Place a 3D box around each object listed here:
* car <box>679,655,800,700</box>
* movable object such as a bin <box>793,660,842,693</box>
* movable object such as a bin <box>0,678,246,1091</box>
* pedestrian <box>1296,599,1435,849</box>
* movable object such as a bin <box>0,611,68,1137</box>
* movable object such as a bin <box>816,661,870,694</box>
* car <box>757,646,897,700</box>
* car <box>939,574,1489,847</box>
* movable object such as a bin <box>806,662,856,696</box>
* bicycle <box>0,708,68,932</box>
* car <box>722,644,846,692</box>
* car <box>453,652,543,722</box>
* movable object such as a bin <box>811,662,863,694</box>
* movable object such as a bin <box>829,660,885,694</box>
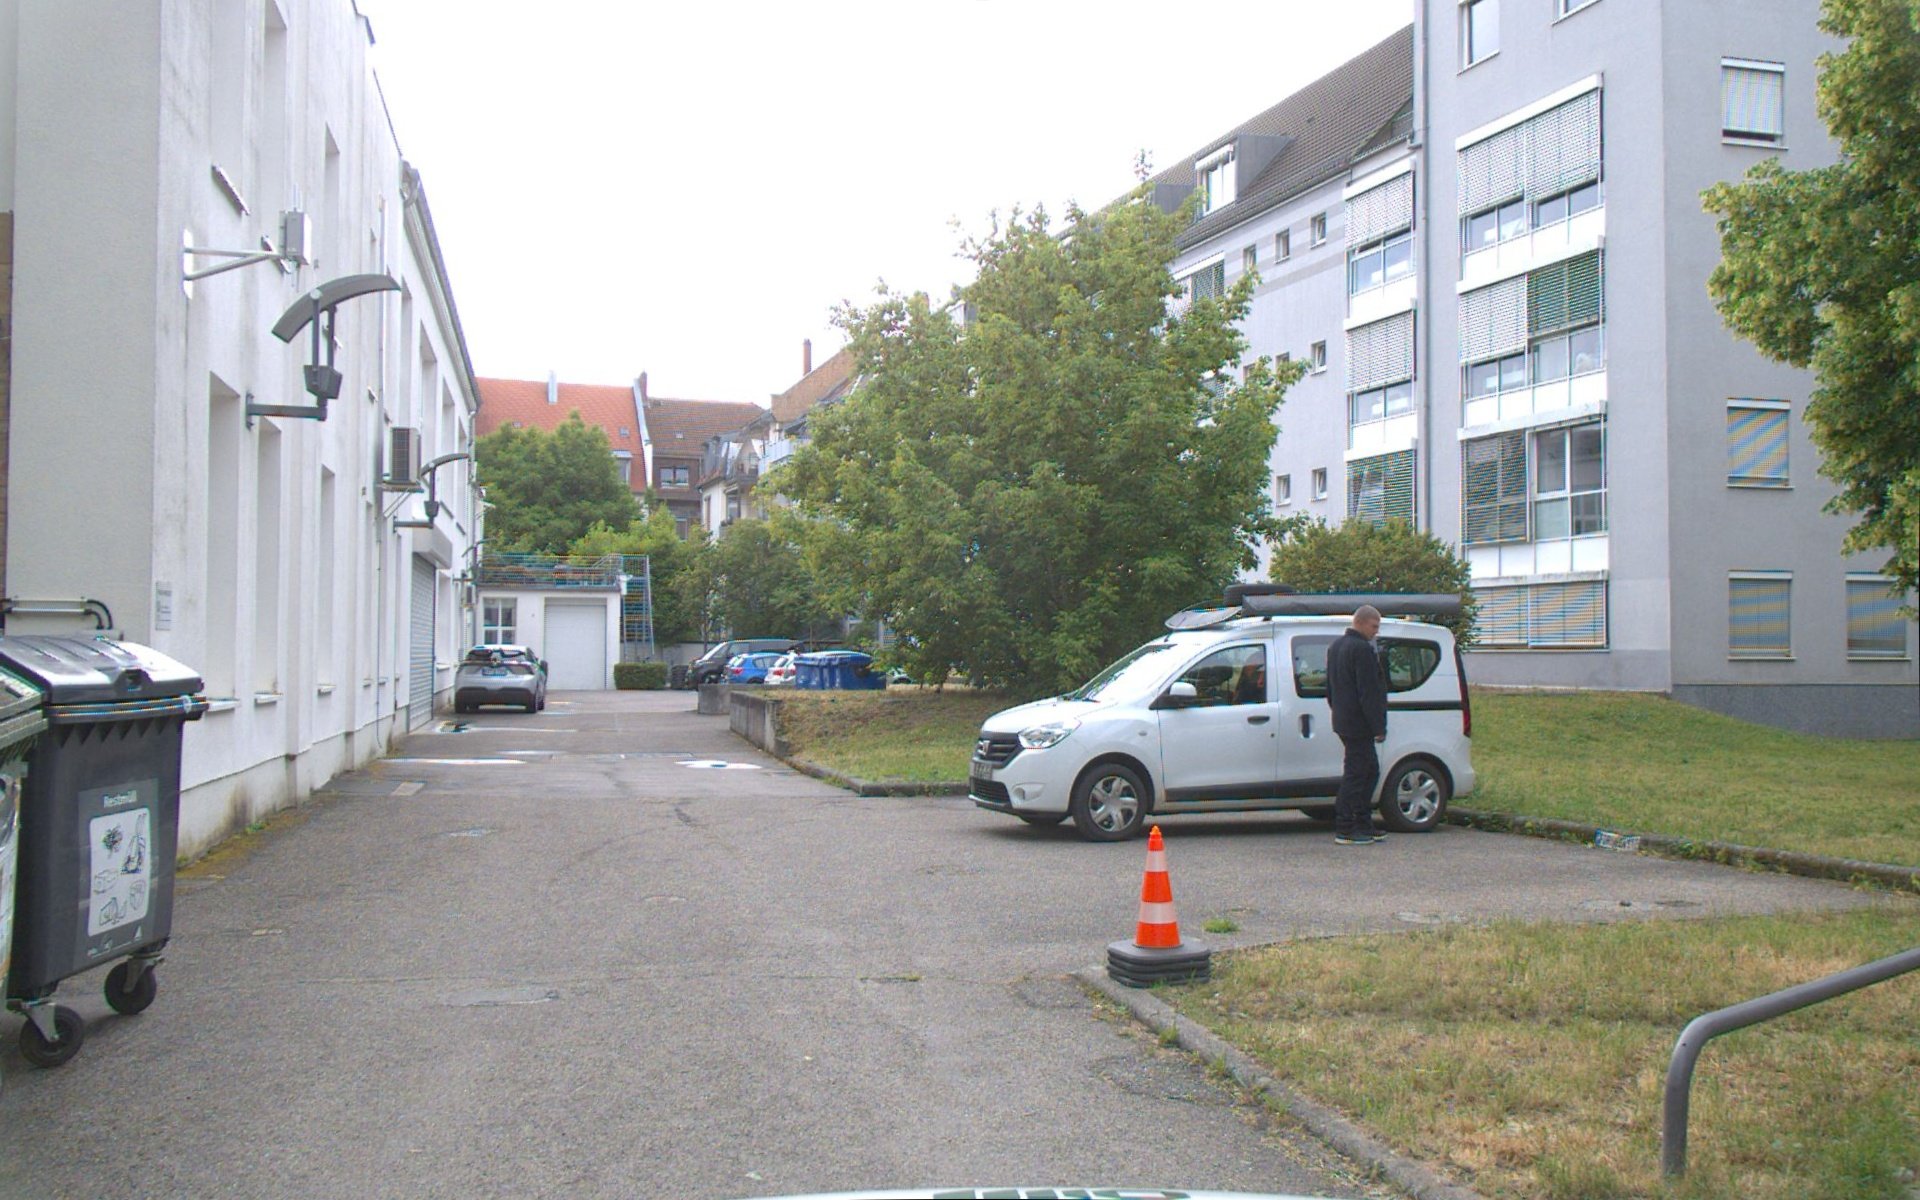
[{"bbox_3d":[-8.234,2.873,61.806,4.129,1.602,1.984,1,-2,-25],"label":"car"},{"bbox_3d":[-3.090,1.661,35.914,0.948,0.691,0.867,1,-3,-13],"label":"movable object such as a bin"},{"bbox_3d":[-3.376,0.940,5.960,1.031,1.287,1.353,0,-2,-2],"label":"movable object such as a bin"},{"bbox_3d":[3.096,0.939,12.687,0.742,1.841,0.694,1,-4,-19],"label":"pedestrian"},{"bbox_3d":[-3.070,0.680,4.442,1.038,1.287,1.344,1,-2,-23],"label":"movable object such as a bin"},{"bbox_3d":[-2.344,1.550,32.998,0.948,0.648,0.908,1,-3,-13],"label":"movable object such as a bin"},{"bbox_3d":[-4.161,2.254,51.674,3.937,1.602,1.984,1,-2,-25],"label":"car"},{"bbox_3d":[2.123,0.914,14.026,4.272,2.049,1.843,1,-3,-20],"label":"car"},{"bbox_3d":[-2.735,1.678,35.047,0.948,0.691,0.808,1,-3,-13],"label":"movable object such as a bin"},{"bbox_3d":[-5.133,1.142,8.688,0.388,1.084,1.820,1,-2,-16],"label":"bicycle"},{"bbox_3d":[-5.993,2.299,56.319,3.937,1.602,1.572,1,-2,-26],"label":"car"},{"bbox_3d":[-10.646,2.023,38.331,1.816,1.535,3.985,1,-3,-14],"label":"car"},{"bbox_3d":[-2.535,1.607,34.082,0.948,0.648,0.908,1,-3,-13],"label":"movable object such as a bin"},{"bbox_3d":[-1.985,1.490,31.825,0.948,0.648,0.908,1,-3,-13],"label":"movable object such as a bin"}]
